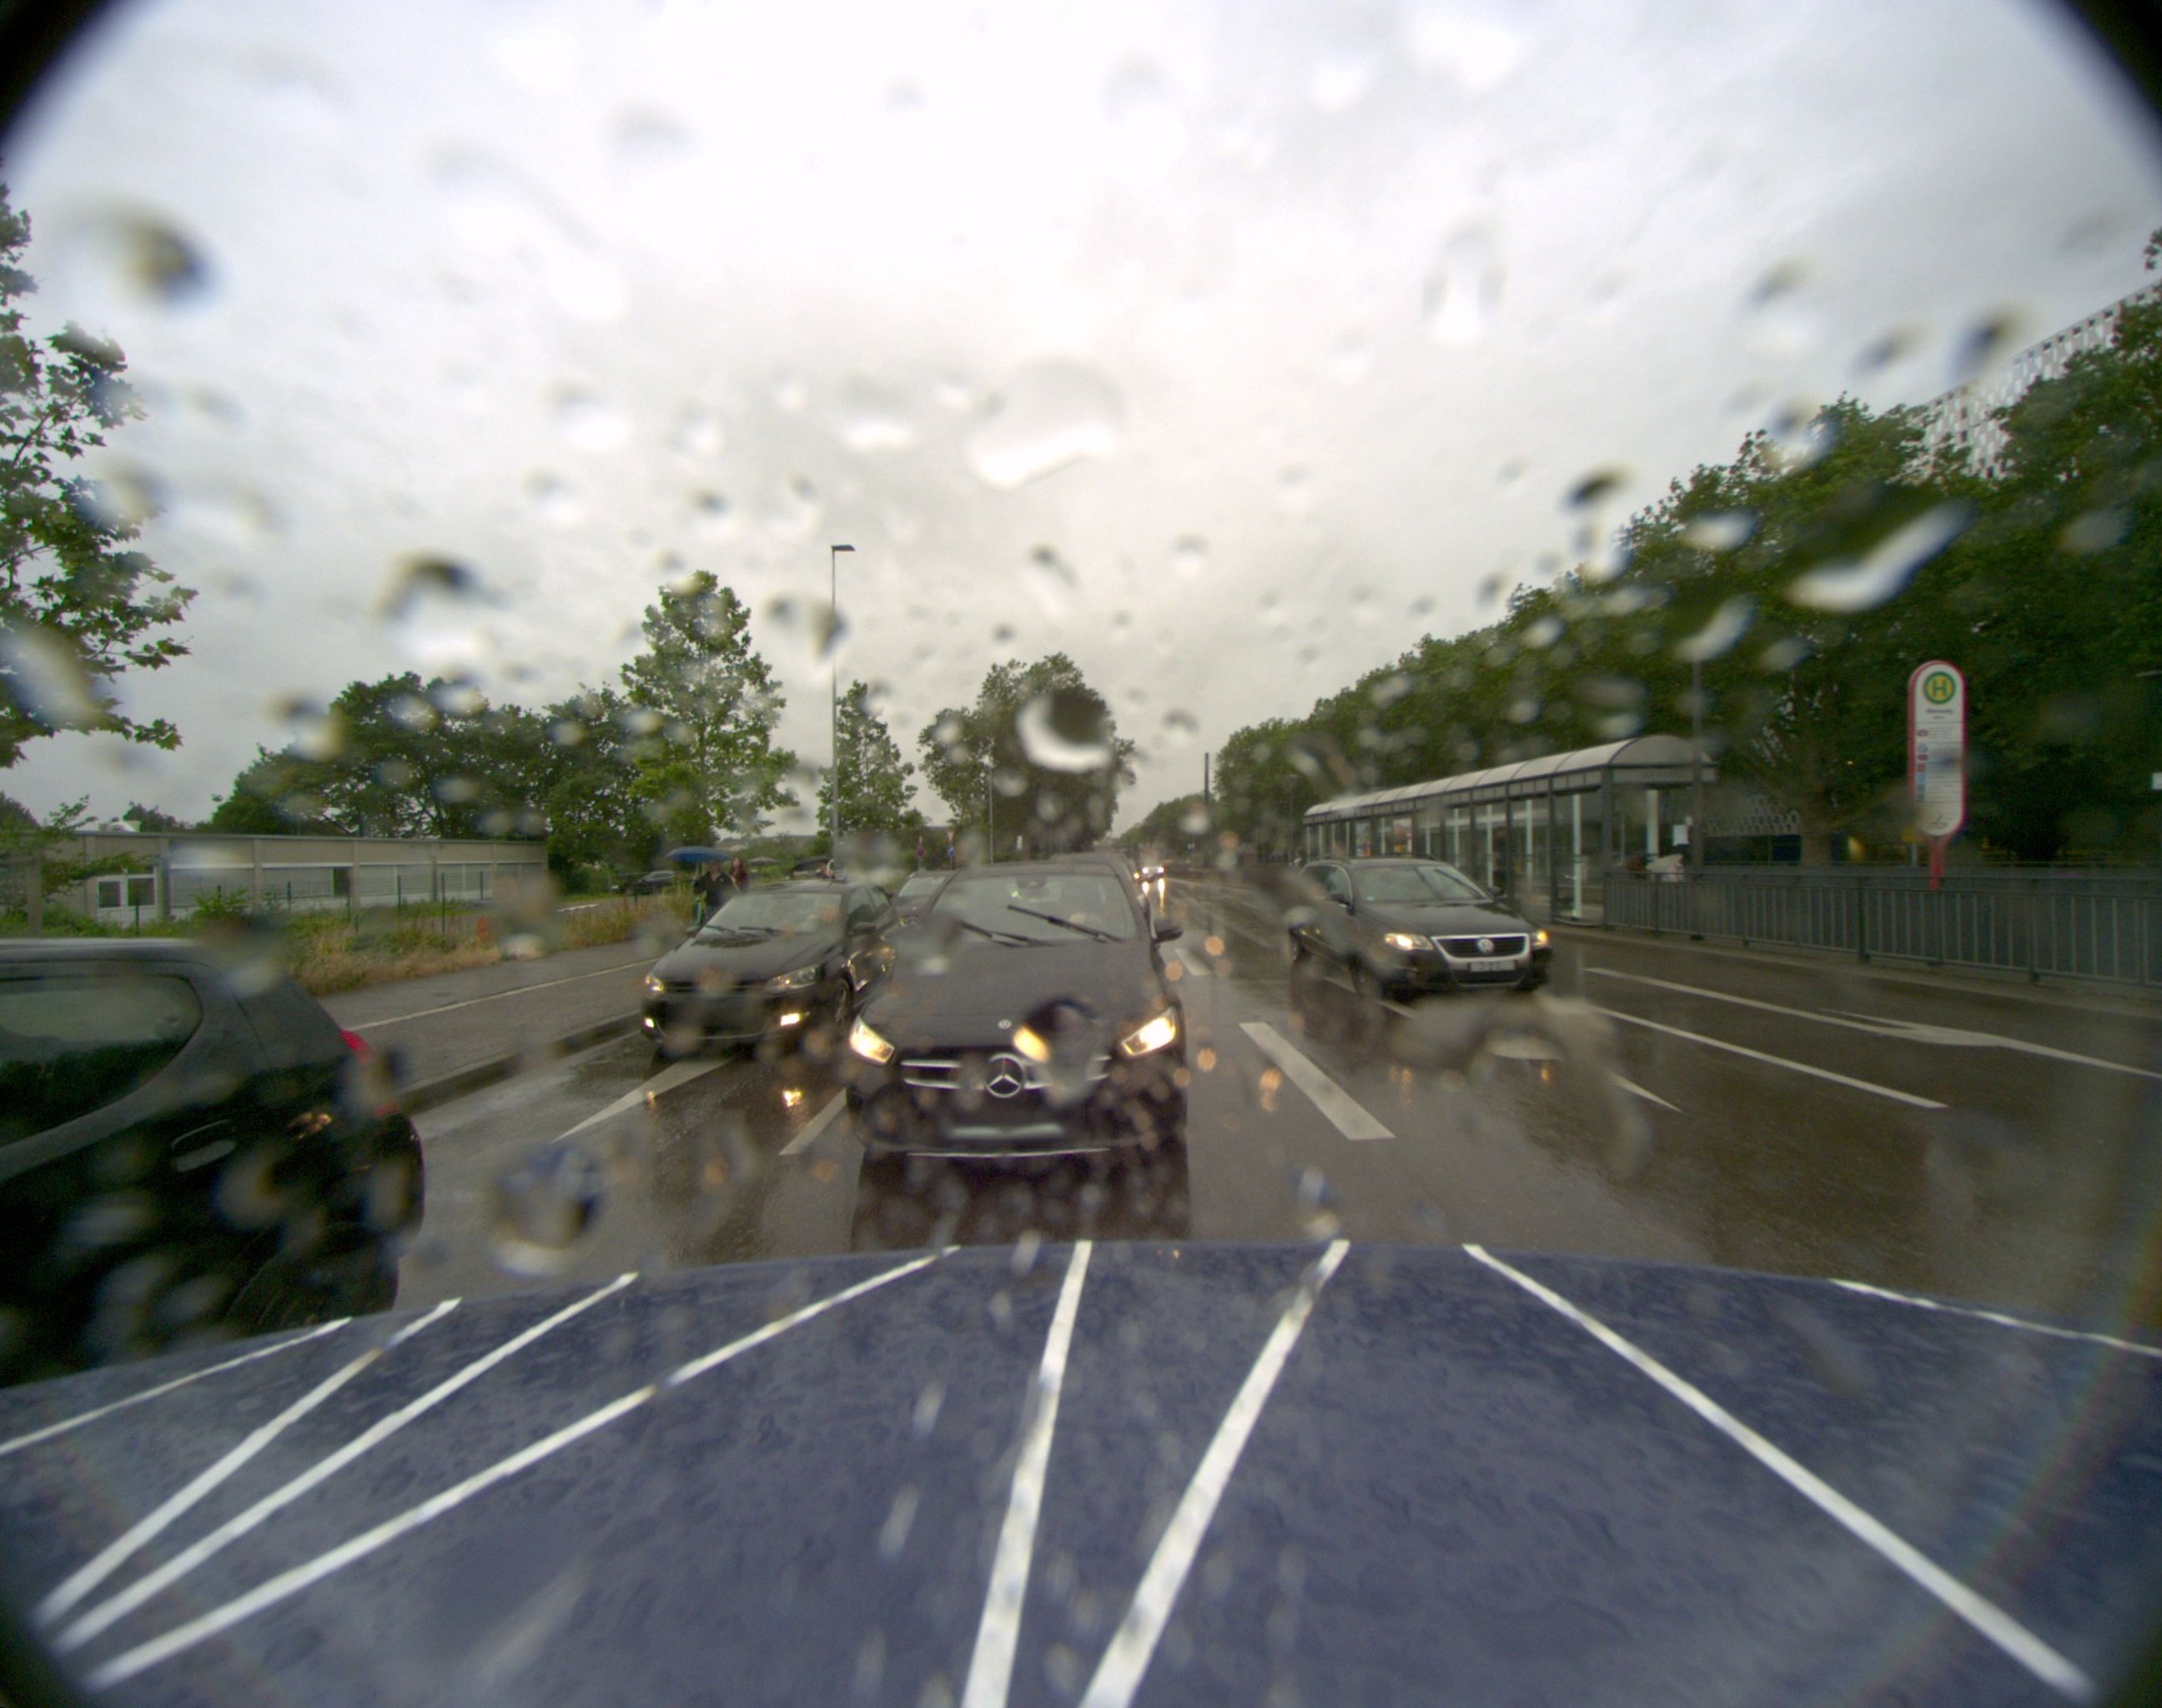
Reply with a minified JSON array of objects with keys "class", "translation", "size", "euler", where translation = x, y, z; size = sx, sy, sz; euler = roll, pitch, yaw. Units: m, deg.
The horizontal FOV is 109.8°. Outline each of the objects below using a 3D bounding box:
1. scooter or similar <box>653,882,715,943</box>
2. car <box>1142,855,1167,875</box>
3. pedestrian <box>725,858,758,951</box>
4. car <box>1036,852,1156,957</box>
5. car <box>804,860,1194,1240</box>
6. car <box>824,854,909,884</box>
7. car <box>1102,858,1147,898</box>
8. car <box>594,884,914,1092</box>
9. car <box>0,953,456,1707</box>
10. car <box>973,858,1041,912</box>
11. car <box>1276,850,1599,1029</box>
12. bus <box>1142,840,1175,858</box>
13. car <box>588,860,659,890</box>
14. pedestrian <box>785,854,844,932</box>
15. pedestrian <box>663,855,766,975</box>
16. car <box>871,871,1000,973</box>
[{"class":"scooter or similar","translation":[-8.214,1.181,15.804],"size":[0.381,1.123,1.777],"euler":[0,1,-1]},{"class":"car","translation":[6.470,0.922,67.196],"size":[1.794,1.597,3.999],"euler":[-2,1,0]},{"class":"pedestrian","translation":[-6.183,0.910,13.844],"size":[0.401,1.652,0.441],"euler":[1,1,0]},{"class":"car","translation":[0.200,0.721,12.493],"size":[1.633,1.420,3.624],"euler":[-2,0,0]},{"class":"car","translation":[-0.338,0.903,5.498],"size":[1.690,1.578,4.163],"euler":[-2,1,1]},{"class":"car","translation":[-13.481,0.939,48.019],"size":[4.759,1.640,1.999],"euler":[-2,1,-2]},{"class":"car","translation":[1.948,1.038,34.969],"size":[1.794,1.597,3.999],"euler":[-2,1,0]},{"class":"car","translation":[-2.935,1.112,7.709],"size":[1.633,1.420,3.624],"euler":[-2,0,0]},{"class":"car","translation":[-3.012,1.076,0.821],"size":[1.633,1.420,3.624],"euler":[-2,0,0]},{"class":"car","translation":[-2.241,0.898,23.972],"size":[1.703,1.461,4.121],"euler":[-2,1,0]},{"class":"car","translation":[3.726,0.751,8.988],"size":[1.775,1.492,4.597],"euler":[-2,1,2]},{"class":"bus","translation":[14.946,-0.945,147.938],"size":[2.940,3.310,15.052],"euler":[-2,1,-7]},{"class":"car","translation":[-33.965,1.516,56.516],"size":[3.996,2.002,2.000],"euler":[-2,1,2]},{"class":"pedestrian","translation":[-6.018,0.871,17.219],"size":[1.025,1.698,0.891],"euler":[1,1,0]},{"class":"pedestrian","translation":[-5.558,0.889,11.595],"size":[1.082,1.746,0.969],"euler":[0,1,0]},{"class":"car","translation":[-2.688,1.209,14.910],"size":[1.698,1.565,3.813],"euler":[-2,1,1]}]
